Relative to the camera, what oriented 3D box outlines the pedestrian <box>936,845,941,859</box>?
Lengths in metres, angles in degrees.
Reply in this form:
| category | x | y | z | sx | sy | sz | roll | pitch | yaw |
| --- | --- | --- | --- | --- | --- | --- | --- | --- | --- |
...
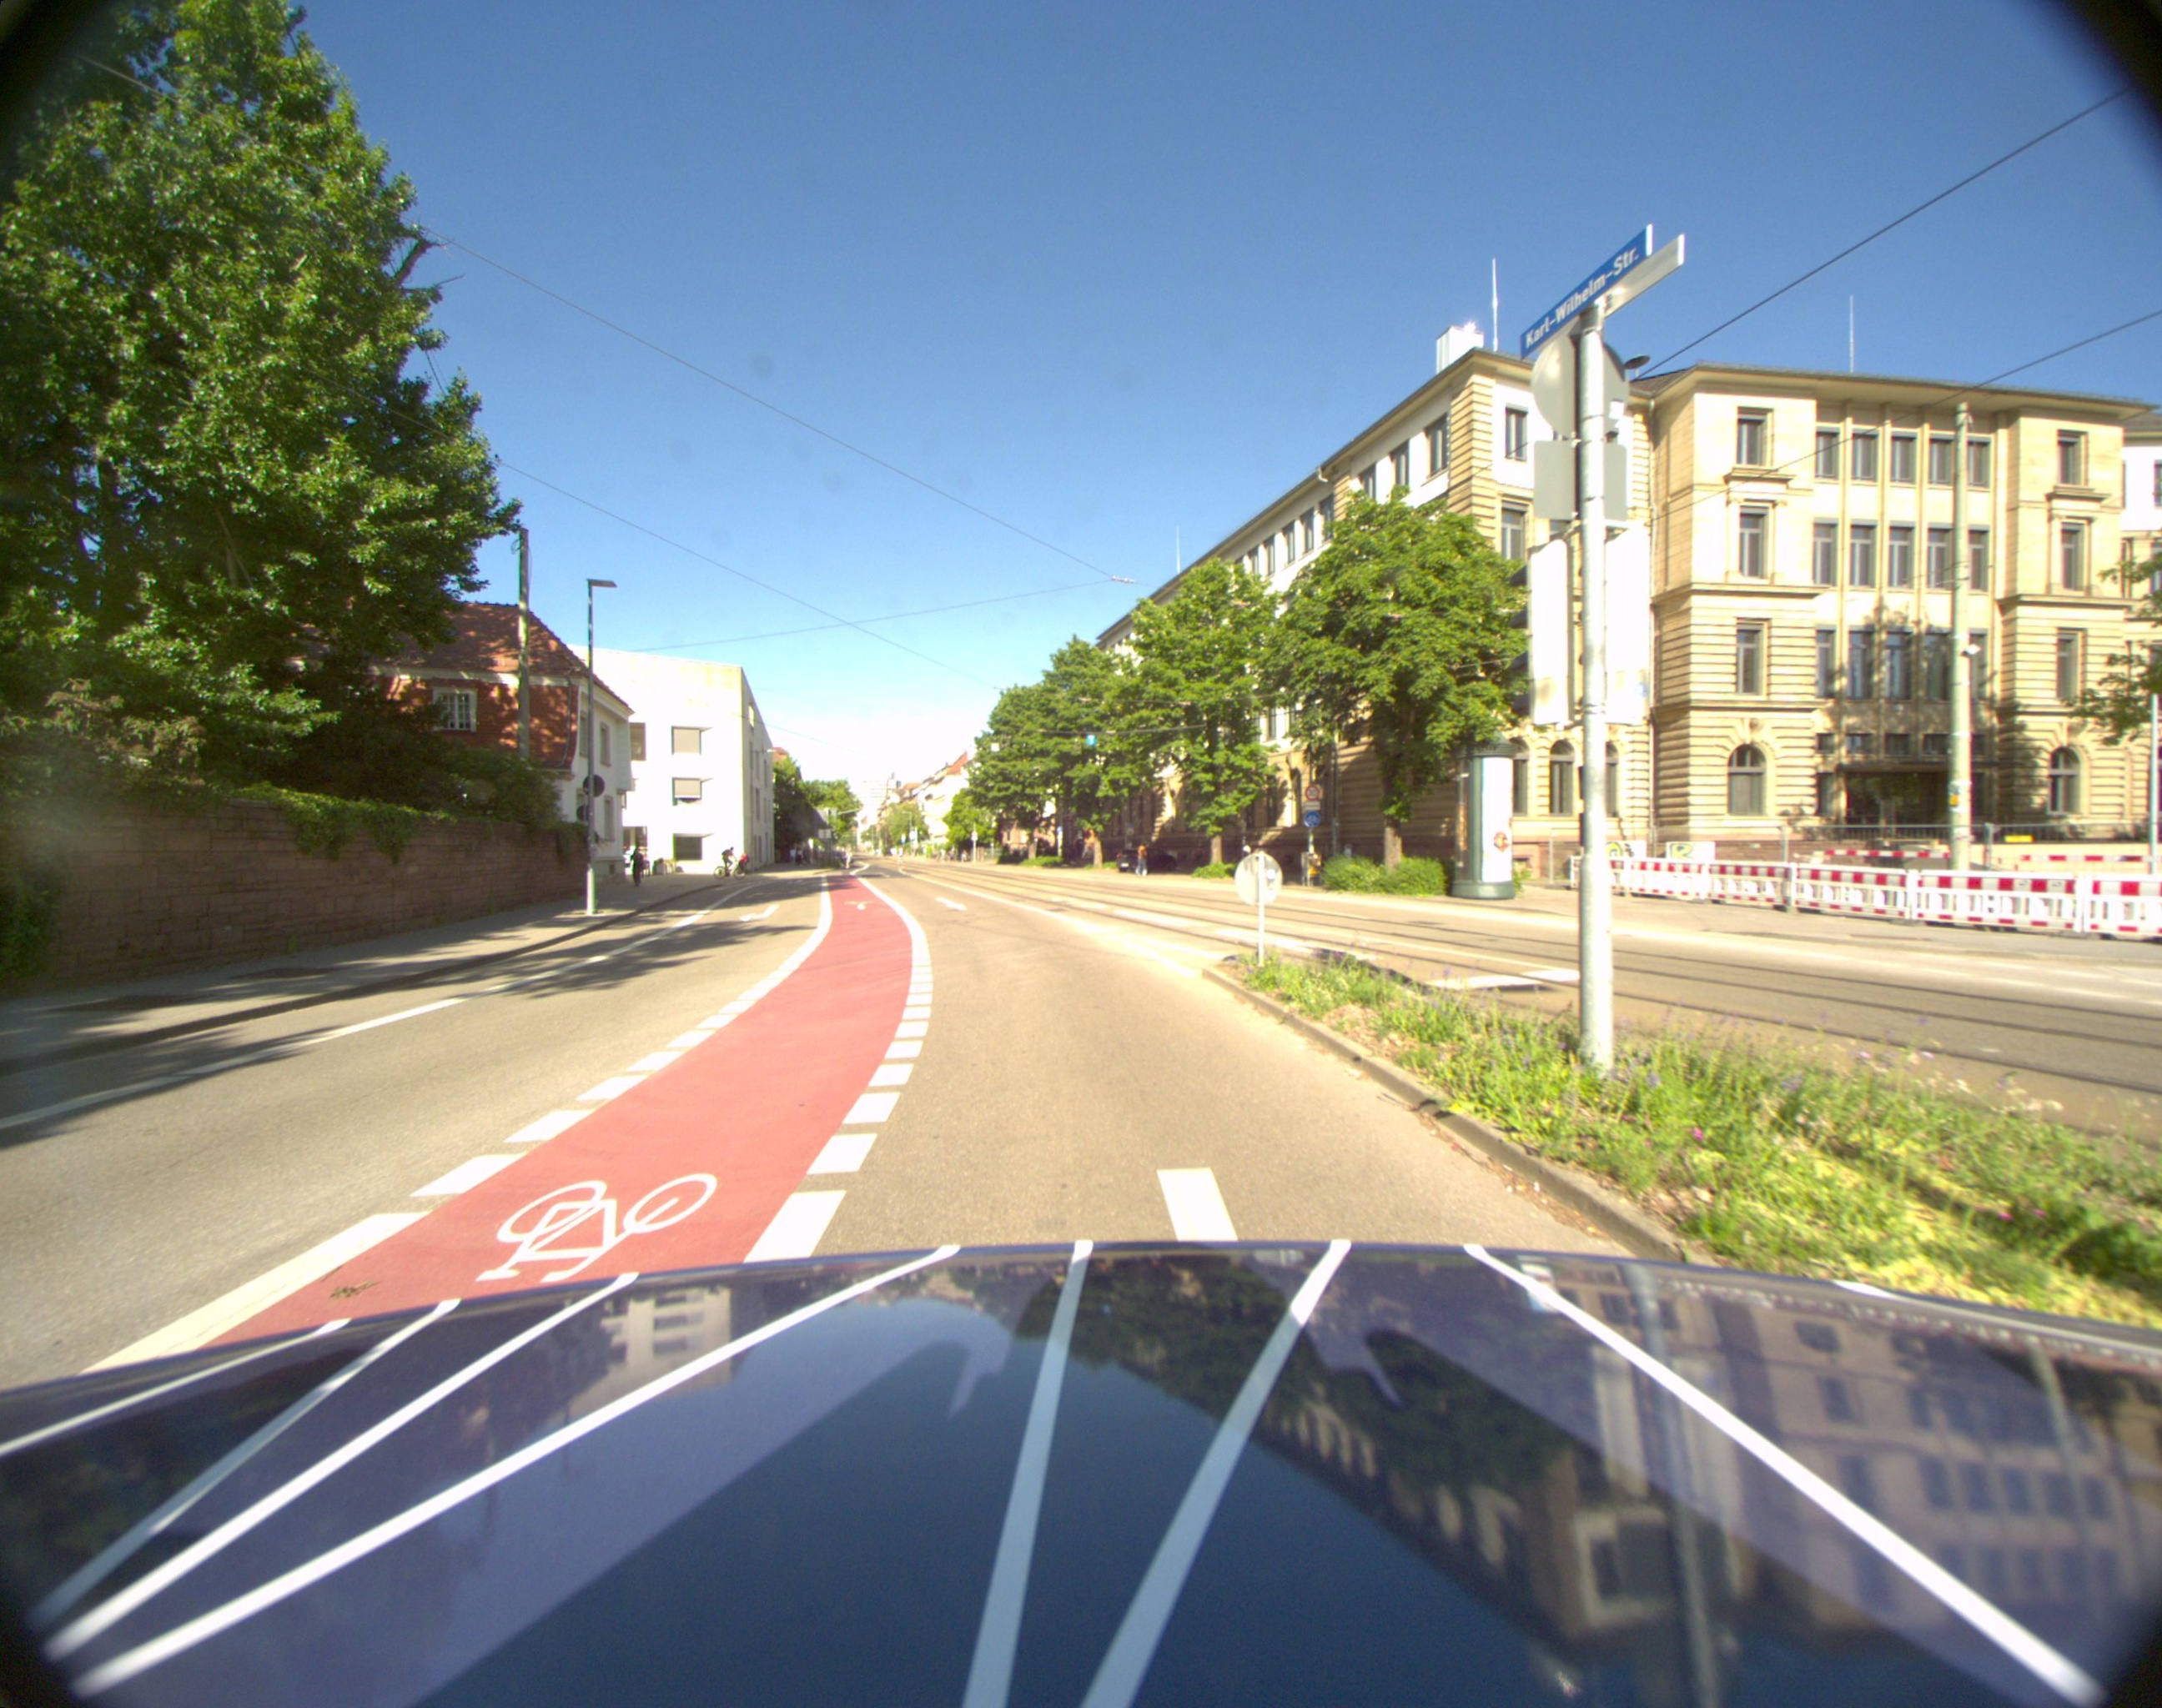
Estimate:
| category | x | y | z | sx | sy | sz | roll | pitch | yaw |
| --- | --- | --- | --- | --- | --- | --- | --- | --- | --- |
| pedestrian | -18.771 | -0.283 | 100.069 | 0.579 | 1.845 | 0.683 | -1 | 1 | -17 |

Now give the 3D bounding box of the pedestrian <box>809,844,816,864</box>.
| category | x | y | z | sx | sy | sz | roll | pitch | yaw |
| --- | --- | --- | --- | --- | --- | --- | --- | --- | --- |
| pedestrian | -25.194 | -0.017 | 71.202 | 0.588 | 1.796 | 0.519 | -1 | 1 | -19 |

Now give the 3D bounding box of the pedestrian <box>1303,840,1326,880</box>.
| category | x | y | z | sx | sy | sz | roll | pitch | yaw |
| --- | --- | --- | --- | --- | --- | --- | --- | --- | --- |
| pedestrian | 10.122 | 0.252 | 32.951 | 0.729 | 1.660 | 0.845 | 0 | 4 | -1 |

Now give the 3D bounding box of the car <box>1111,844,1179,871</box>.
| category | x | y | z | sx | sy | sz | roll | pitch | yaw |
| --- | --- | --- | --- | --- | --- | --- | --- | --- | --- |
| car | 3.944 | 0.189 | 46.385 | 1.915 | 1.565 | 4.118 | 1 | 1 | 45 |

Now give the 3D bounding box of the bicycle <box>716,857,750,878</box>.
| category | x | y | z | sx | sy | sz | roll | pitch | yaw |
| --- | --- | --- | --- | --- | --- | --- | --- | --- | --- |
| bicycle | -19.600 | 0.765 | 42.795 | 1.602 | 1.145 | 0.743 | 3 | -1 | -36 |

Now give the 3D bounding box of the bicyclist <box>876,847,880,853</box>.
| category | x | y | z | sx | sy | sz | roll | pitch | yaw |
| --- | --- | --- | --- | --- | --- | --- | --- | --- | --- |
| bicyclist | -53.649 | -1.035 | 200.649 | 1.004 | 1.712 | 0.983 | -2 | 3 | -18 |

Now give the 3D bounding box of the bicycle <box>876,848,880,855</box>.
| category | x | y | z | sx | sy | sz | roll | pitch | yaw |
| --- | --- | --- | --- | --- | --- | --- | --- | --- | --- |
| bicycle | -53.635 | -0.599 | 200.675 | 1.004 | 1.672 | 2.979 | -2 | 2 | -18 |

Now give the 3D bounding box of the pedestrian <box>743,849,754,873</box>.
| category | x | y | z | sx | sy | sz | roll | pitch | yaw |
| --- | --- | --- | --- | --- | --- | --- | --- | --- | --- |
| pedestrian | -21.322 | 0.435 | 48.700 | 0.521 | 1.557 | 0.533 | -2 | 2 | -41 |

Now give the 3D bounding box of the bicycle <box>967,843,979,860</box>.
| category | x | y | z | sx | sy | sz | roll | pitch | yaw |
| --- | --- | --- | --- | --- | --- | --- | --- | --- | --- |
| bicycle | -13.141 | -0.336 | 92.522 | 1.003 | 1.877 | 3.892 | -2 | 2 | -1 |

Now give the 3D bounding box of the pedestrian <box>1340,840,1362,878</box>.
| category | x | y | z | sx | sy | sz | roll | pitch | yaw |
| --- | --- | --- | --- | --- | --- | --- | --- | --- | --- |
| pedestrian | 11.078 | 0.188 | 31.184 | 0.579 | 1.553 | 0.653 | -1 | 1 | -18 |

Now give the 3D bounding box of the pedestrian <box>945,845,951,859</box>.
| category | x | y | z | sx | sy | sz | roll | pitch | yaw |
| --- | --- | --- | --- | --- | --- | --- | --- | --- | --- |
| pedestrian | -17.050 | -0.235 | 97.482 | 0.579 | 1.845 | 0.683 | -1 | 1 | -17 |

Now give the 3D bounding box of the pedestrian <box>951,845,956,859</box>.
| category | x | y | z | sx | sy | sz | roll | pitch | yaw |
| --- | --- | --- | --- | --- | --- | --- | --- | --- | --- |
| pedestrian | -16.425 | -0.261 | 97.722 | 0.579 | 1.845 | 0.683 | -1 | 1 | -17 |

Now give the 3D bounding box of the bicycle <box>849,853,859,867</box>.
| category | x | y | z | sx | sy | sz | roll | pitch | yaw |
| --- | --- | --- | --- | --- | --- | --- | --- | --- | --- |
| bicycle | -19.516 | 0.522 | 65.297 | 0.666 | 1.146 | 1.669 | -2 | 2 | -14 |

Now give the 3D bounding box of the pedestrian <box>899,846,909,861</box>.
| category | x | y | z | sx | sy | sz | roll | pitch | yaw |
| --- | --- | --- | --- | --- | --- | --- | --- | --- | --- |
| pedestrian | -21.641 | -0.063 | 92.981 | 0.933 | 1.728 | 0.677 | -1 | 2 | -37 |

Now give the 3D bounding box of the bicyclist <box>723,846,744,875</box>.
| category | x | y | z | sx | sy | sz | roll | pitch | yaw |
| --- | --- | --- | --- | --- | --- | --- | --- | --- | --- |
| bicyclist | -19.590 | 0.384 | 42.789 | 0.881 | 1.573 | 0.743 | 3 | -1 | -36 |

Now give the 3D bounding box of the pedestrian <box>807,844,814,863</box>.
| category | x | y | z | sx | sy | sz | roll | pitch | yaw |
| --- | --- | --- | --- | --- | --- | --- | --- | --- | --- |
| pedestrian | -25.921 | -0.031 | 72.787 | 0.588 | 1.796 | 0.581 | -1 | 1 | -19 |

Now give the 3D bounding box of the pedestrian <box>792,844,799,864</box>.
| category | x | y | z | sx | sy | sz | roll | pitch | yaw |
| --- | --- | --- | --- | --- | --- | --- | --- | --- | --- |
| pedestrian | -26.646 | 0.004 | 70.922 | 0.588 | 1.796 | 0.544 | -1 | 1 | -19 |

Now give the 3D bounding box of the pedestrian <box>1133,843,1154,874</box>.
| category | x | y | z | sx | sy | sz | roll | pitch | yaw |
| --- | --- | --- | --- | --- | --- | --- | --- | --- | --- |
| pedestrian | 3.482 | 0.252 | 42.123 | 0.773 | 1.658 | 1.032 | 1 | -3 | -22 |

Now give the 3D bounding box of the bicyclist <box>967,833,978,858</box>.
| category | x | y | z | sx | sy | sz | roll | pitch | yaw |
| --- | --- | --- | --- | --- | --- | --- | --- | --- | --- |
| bicyclist | -13.151 | -0.998 | 92.088 | 1.003 | 2.959 | 1.473 | -2 | 3 | -1 |

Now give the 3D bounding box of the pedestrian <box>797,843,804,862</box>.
| category | x | y | z | sx | sy | sz | roll | pitch | yaw |
| --- | --- | --- | --- | --- | --- | --- | --- | --- | --- |
| pedestrian | -26.719 | -0.108 | 72.319 | 0.588 | 1.796 | 0.581 | -1 | 1 | -19 |

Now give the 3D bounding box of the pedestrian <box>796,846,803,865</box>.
| category | x | y | z | sx | sy | sz | roll | pitch | yaw |
| --- | --- | --- | --- | --- | --- | --- | --- | --- | --- |
| pedestrian | -27.375 | 0.148 | 73.840 | 0.588 | 1.796 | 0.544 | -1 | 1 | -19 |

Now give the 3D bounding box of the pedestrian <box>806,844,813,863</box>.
| category | x | y | z | sx | sy | sz | roll | pitch | yaw |
| --- | --- | --- | --- | --- | --- | --- | --- | --- | --- |
| pedestrian | -26.491 | -0.077 | 74.112 | 0.588 | 1.796 | 0.544 | -1 | 1 | -19 |

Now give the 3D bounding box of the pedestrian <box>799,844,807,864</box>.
| category | x | y | z | sx | sy | sz | roll | pitch | yaw |
| --- | --- | --- | --- | --- | --- | --- | --- | --- | --- |
| pedestrian | -25.981 | -0.017 | 70.988 | 0.588 | 1.796 | 0.544 | -1 | 1 | -19 |

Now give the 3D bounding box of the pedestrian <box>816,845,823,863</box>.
| category | x | y | z | sx | sy | sz | roll | pitch | yaw |
| --- | --- | --- | --- | --- | --- | --- | --- | --- | --- |
| pedestrian | -24.693 | -0.004 | 71.767 | 0.588 | 1.717 | 0.519 | -1 | 1 | -19 |

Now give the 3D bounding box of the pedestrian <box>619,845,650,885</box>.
| category | x | y | z | sx | sy | sz | roll | pitch | yaw |
| --- | --- | --- | --- | --- | --- | --- | --- | --- | --- |
| pedestrian | -19.020 | 0.470 | 32.365 | 0.941 | 1.668 | 0.952 | 2 | 1 | -19 |

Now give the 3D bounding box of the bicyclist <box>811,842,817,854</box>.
| category | x | y | z | sx | sy | sz | roll | pitch | yaw |
| --- | --- | --- | --- | --- | --- | --- | --- | --- | --- |
| bicyclist | -49.819 | -1.135 | 141.814 | 0.814 | 2.194 | 0.983 | -2 | 3 | -16 |

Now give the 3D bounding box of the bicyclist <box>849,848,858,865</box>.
| category | x | y | z | sx | sy | sz | roll | pitch | yaw |
| --- | --- | --- | --- | --- | --- | --- | --- | --- | --- |
| bicyclist | -19.519 | 0.229 | 65.265 | 0.666 | 1.453 | 0.621 | -2 | 3 | -14 |

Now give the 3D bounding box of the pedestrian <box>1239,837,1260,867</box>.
| category | x | y | z | sx | sy | sz | roll | pitch | yaw |
| --- | --- | --- | --- | --- | --- | --- | --- | --- | --- |
| pedestrian | 9.228 | -0.128 | 41.643 | 0.673 | 1.558 | 0.857 | -5 | 3 | -22 |

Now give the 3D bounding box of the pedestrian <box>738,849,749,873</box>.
| category | x | y | z | sx | sy | sz | roll | pitch | yaw |
| --- | --- | --- | --- | --- | --- | --- | --- | --- | --- |
| pedestrian | -21.800 | 0.435 | 49.053 | 0.521 | 1.557 | 0.533 | -2 | 2 | -41 |

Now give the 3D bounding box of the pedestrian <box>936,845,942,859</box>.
| category | x | y | z | sx | sy | sz | roll | pitch | yaw |
| --- | --- | --- | --- | --- | --- | --- | --- | --- | --- |
| pedestrian | -18.774 | -0.262 | 100.275 | 0.729 | 1.845 | 0.653 | -1 | 1 | -15 |
